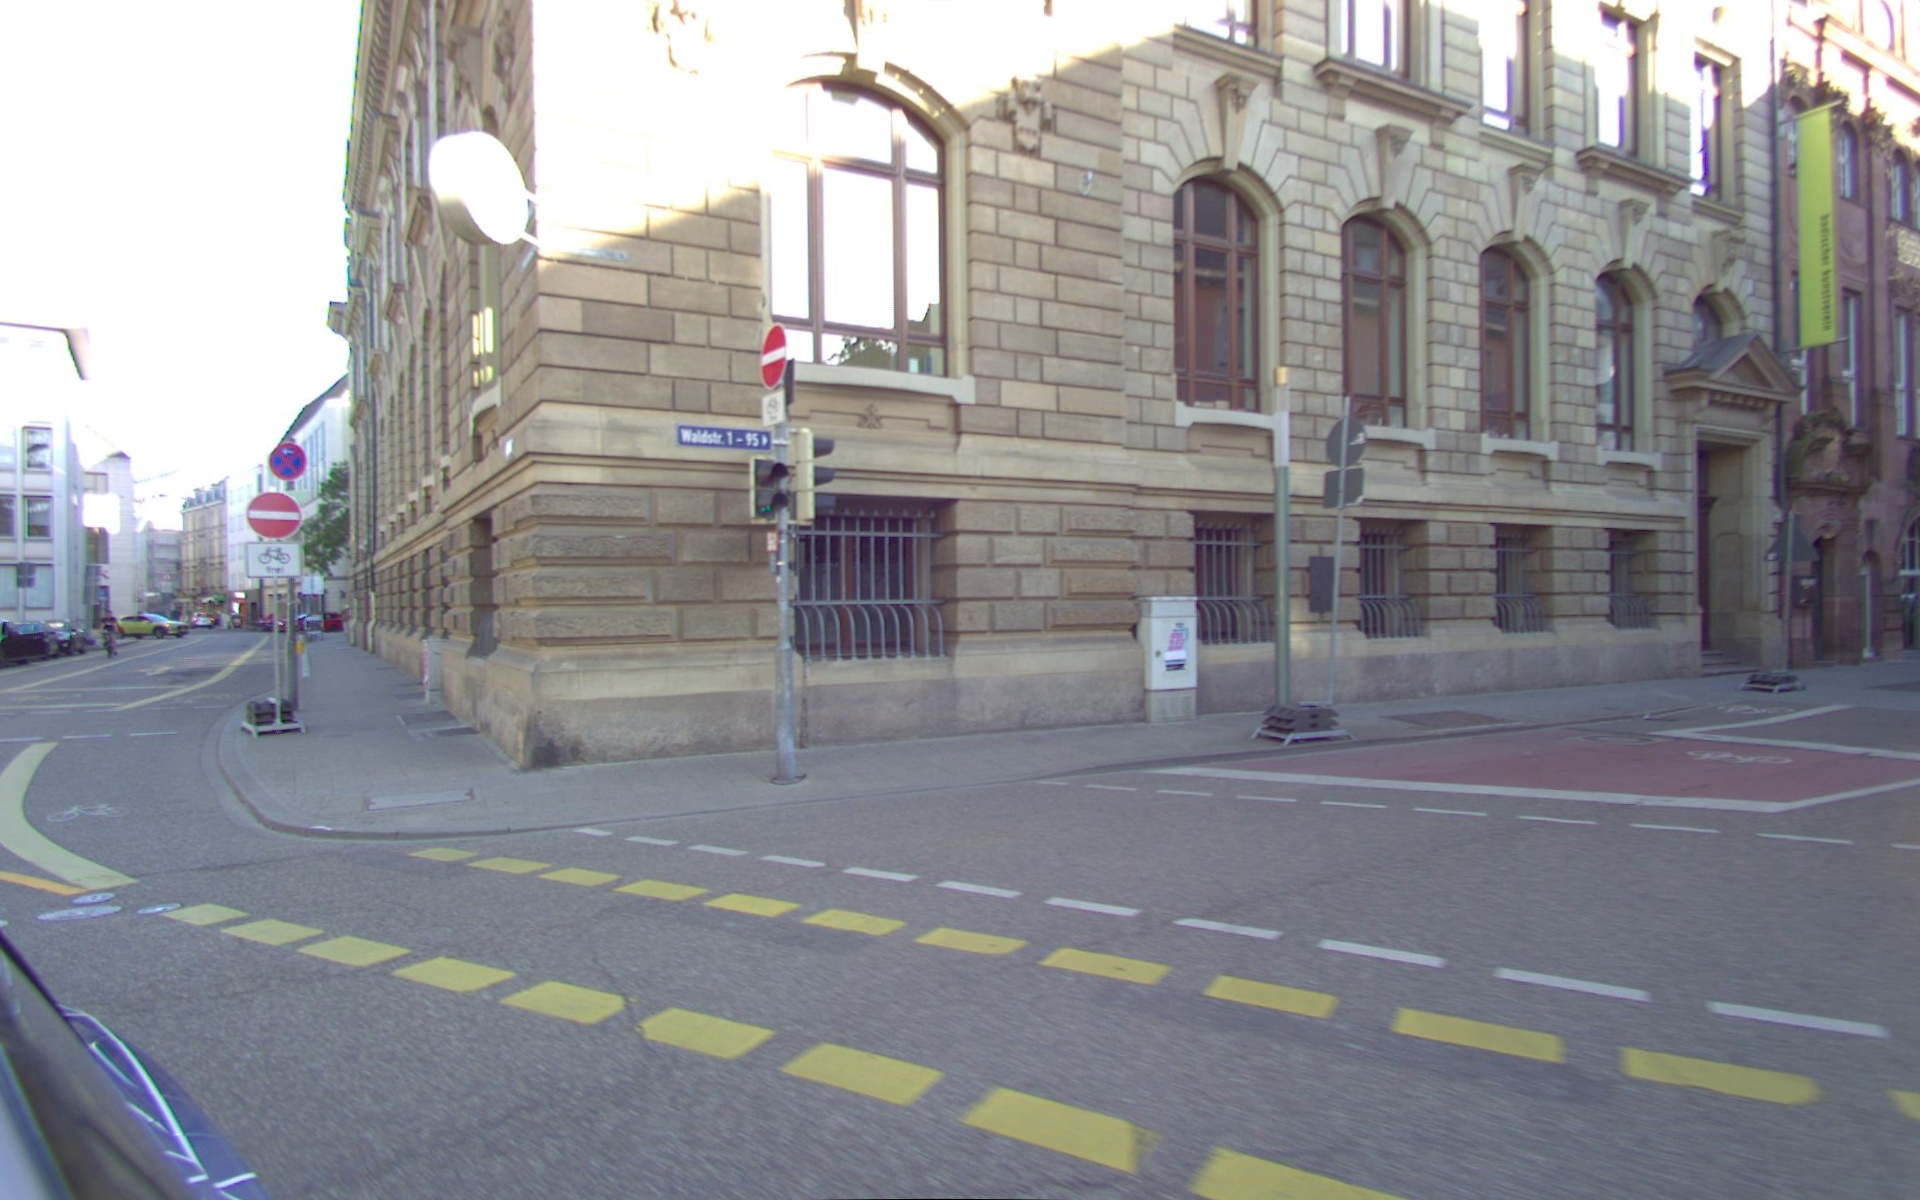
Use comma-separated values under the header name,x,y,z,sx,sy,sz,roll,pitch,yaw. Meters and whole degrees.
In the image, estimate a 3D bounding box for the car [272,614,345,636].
name,x,y,z,sx,sy,sz,roll,pitch,yaw
car,-47.468,1.771,73.816,1.633,1.482,4.209,-1,0,44

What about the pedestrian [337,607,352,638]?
name,x,y,z,sx,sy,sz,roll,pitch,yaw
pedestrian,-36.438,1.338,59.910,0.753,1.793,0.624,-1,0,-32

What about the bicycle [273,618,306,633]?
name,x,y,z,sx,sy,sz,roll,pitch,yaw
bicycle,-46.278,1.774,69.825,1.843,0.916,0.536,-2,6,-39

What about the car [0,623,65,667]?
name,x,y,z,sx,sy,sz,roll,pitch,yaw
car,-33.332,1.569,36.126,1.605,1.410,3.896,-1,0,-35

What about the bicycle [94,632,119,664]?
name,x,y,z,sx,sy,sz,roll,pitch,yaw
bicycle,-30.270,1.680,35.883,0.526,1.074,1.429,-1,0,-35

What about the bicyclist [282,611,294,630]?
name,x,y,z,sx,sy,sz,roll,pitch,yaw
bicyclist,-46.333,1.401,69.792,0.603,1.298,0.539,-1,0,-39

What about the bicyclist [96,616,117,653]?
name,x,y,z,sx,sy,sz,roll,pitch,yaw
bicyclist,-30.323,1.223,35.956,0.529,1.298,0.553,-1,0,-35

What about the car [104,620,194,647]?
name,x,y,z,sx,sy,sz,roll,pitch,yaw
car,-51.219,2.109,63.951,4.194,1.503,1.856,-1,0,0

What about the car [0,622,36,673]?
name,x,y,z,sx,sy,sz,roll,pitch,yaw
car,-30.044,1.452,31.052,1.674,1.481,4.805,-1,0,-33

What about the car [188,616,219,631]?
name,x,y,z,sx,sy,sz,roll,pitch,yaw
car,-78.828,2.450,105.478,2.025,1.502,4.274,-1,0,-44

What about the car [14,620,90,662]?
name,x,y,z,sx,sy,sz,roll,pitch,yaw
car,-36.337,1.599,40.592,1.671,1.503,4.266,-1,0,-34
